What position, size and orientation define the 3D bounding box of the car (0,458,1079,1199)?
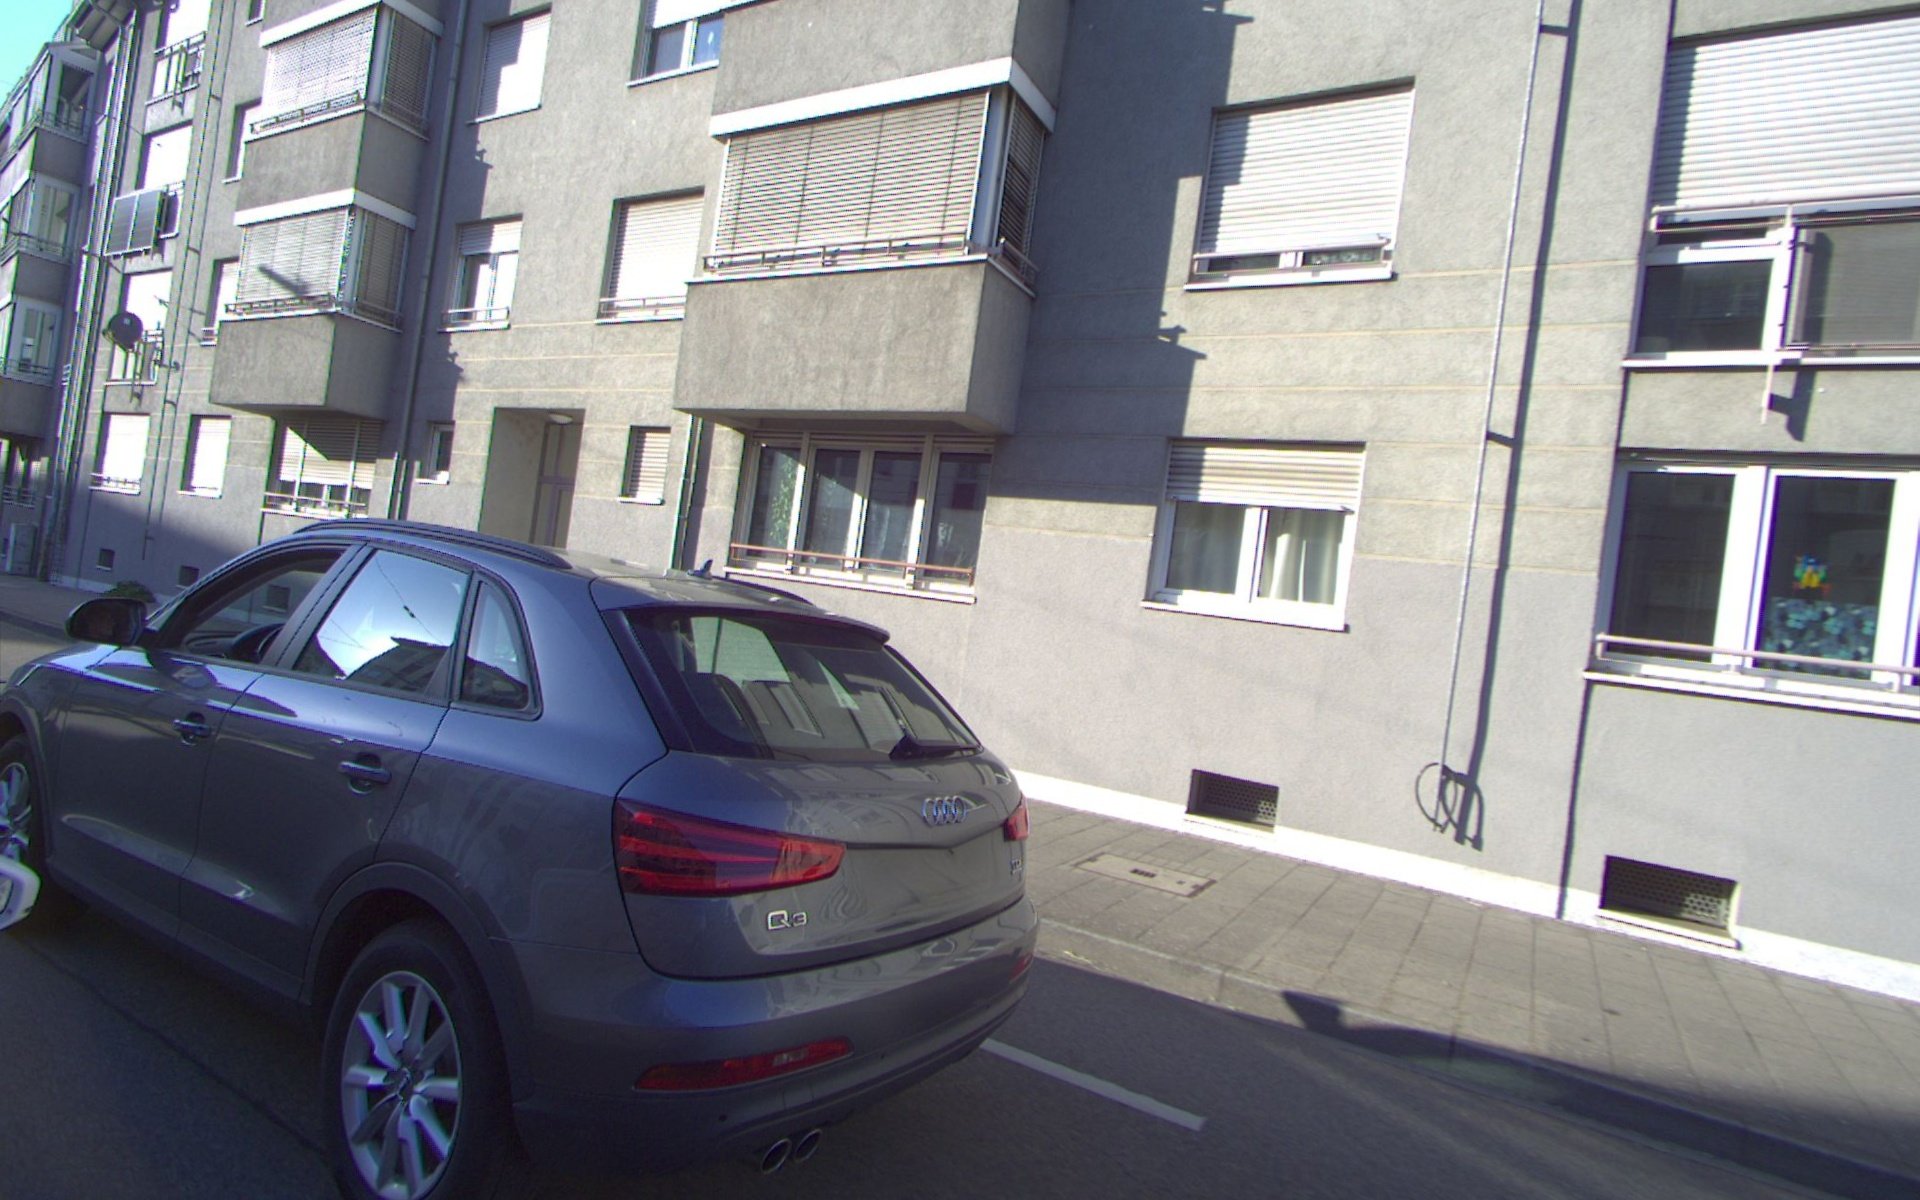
[{"bbox_3d":[-1.854,0.536,3.585,4.000,1.605,1.770,7,-2,32],"label":"car"}]
